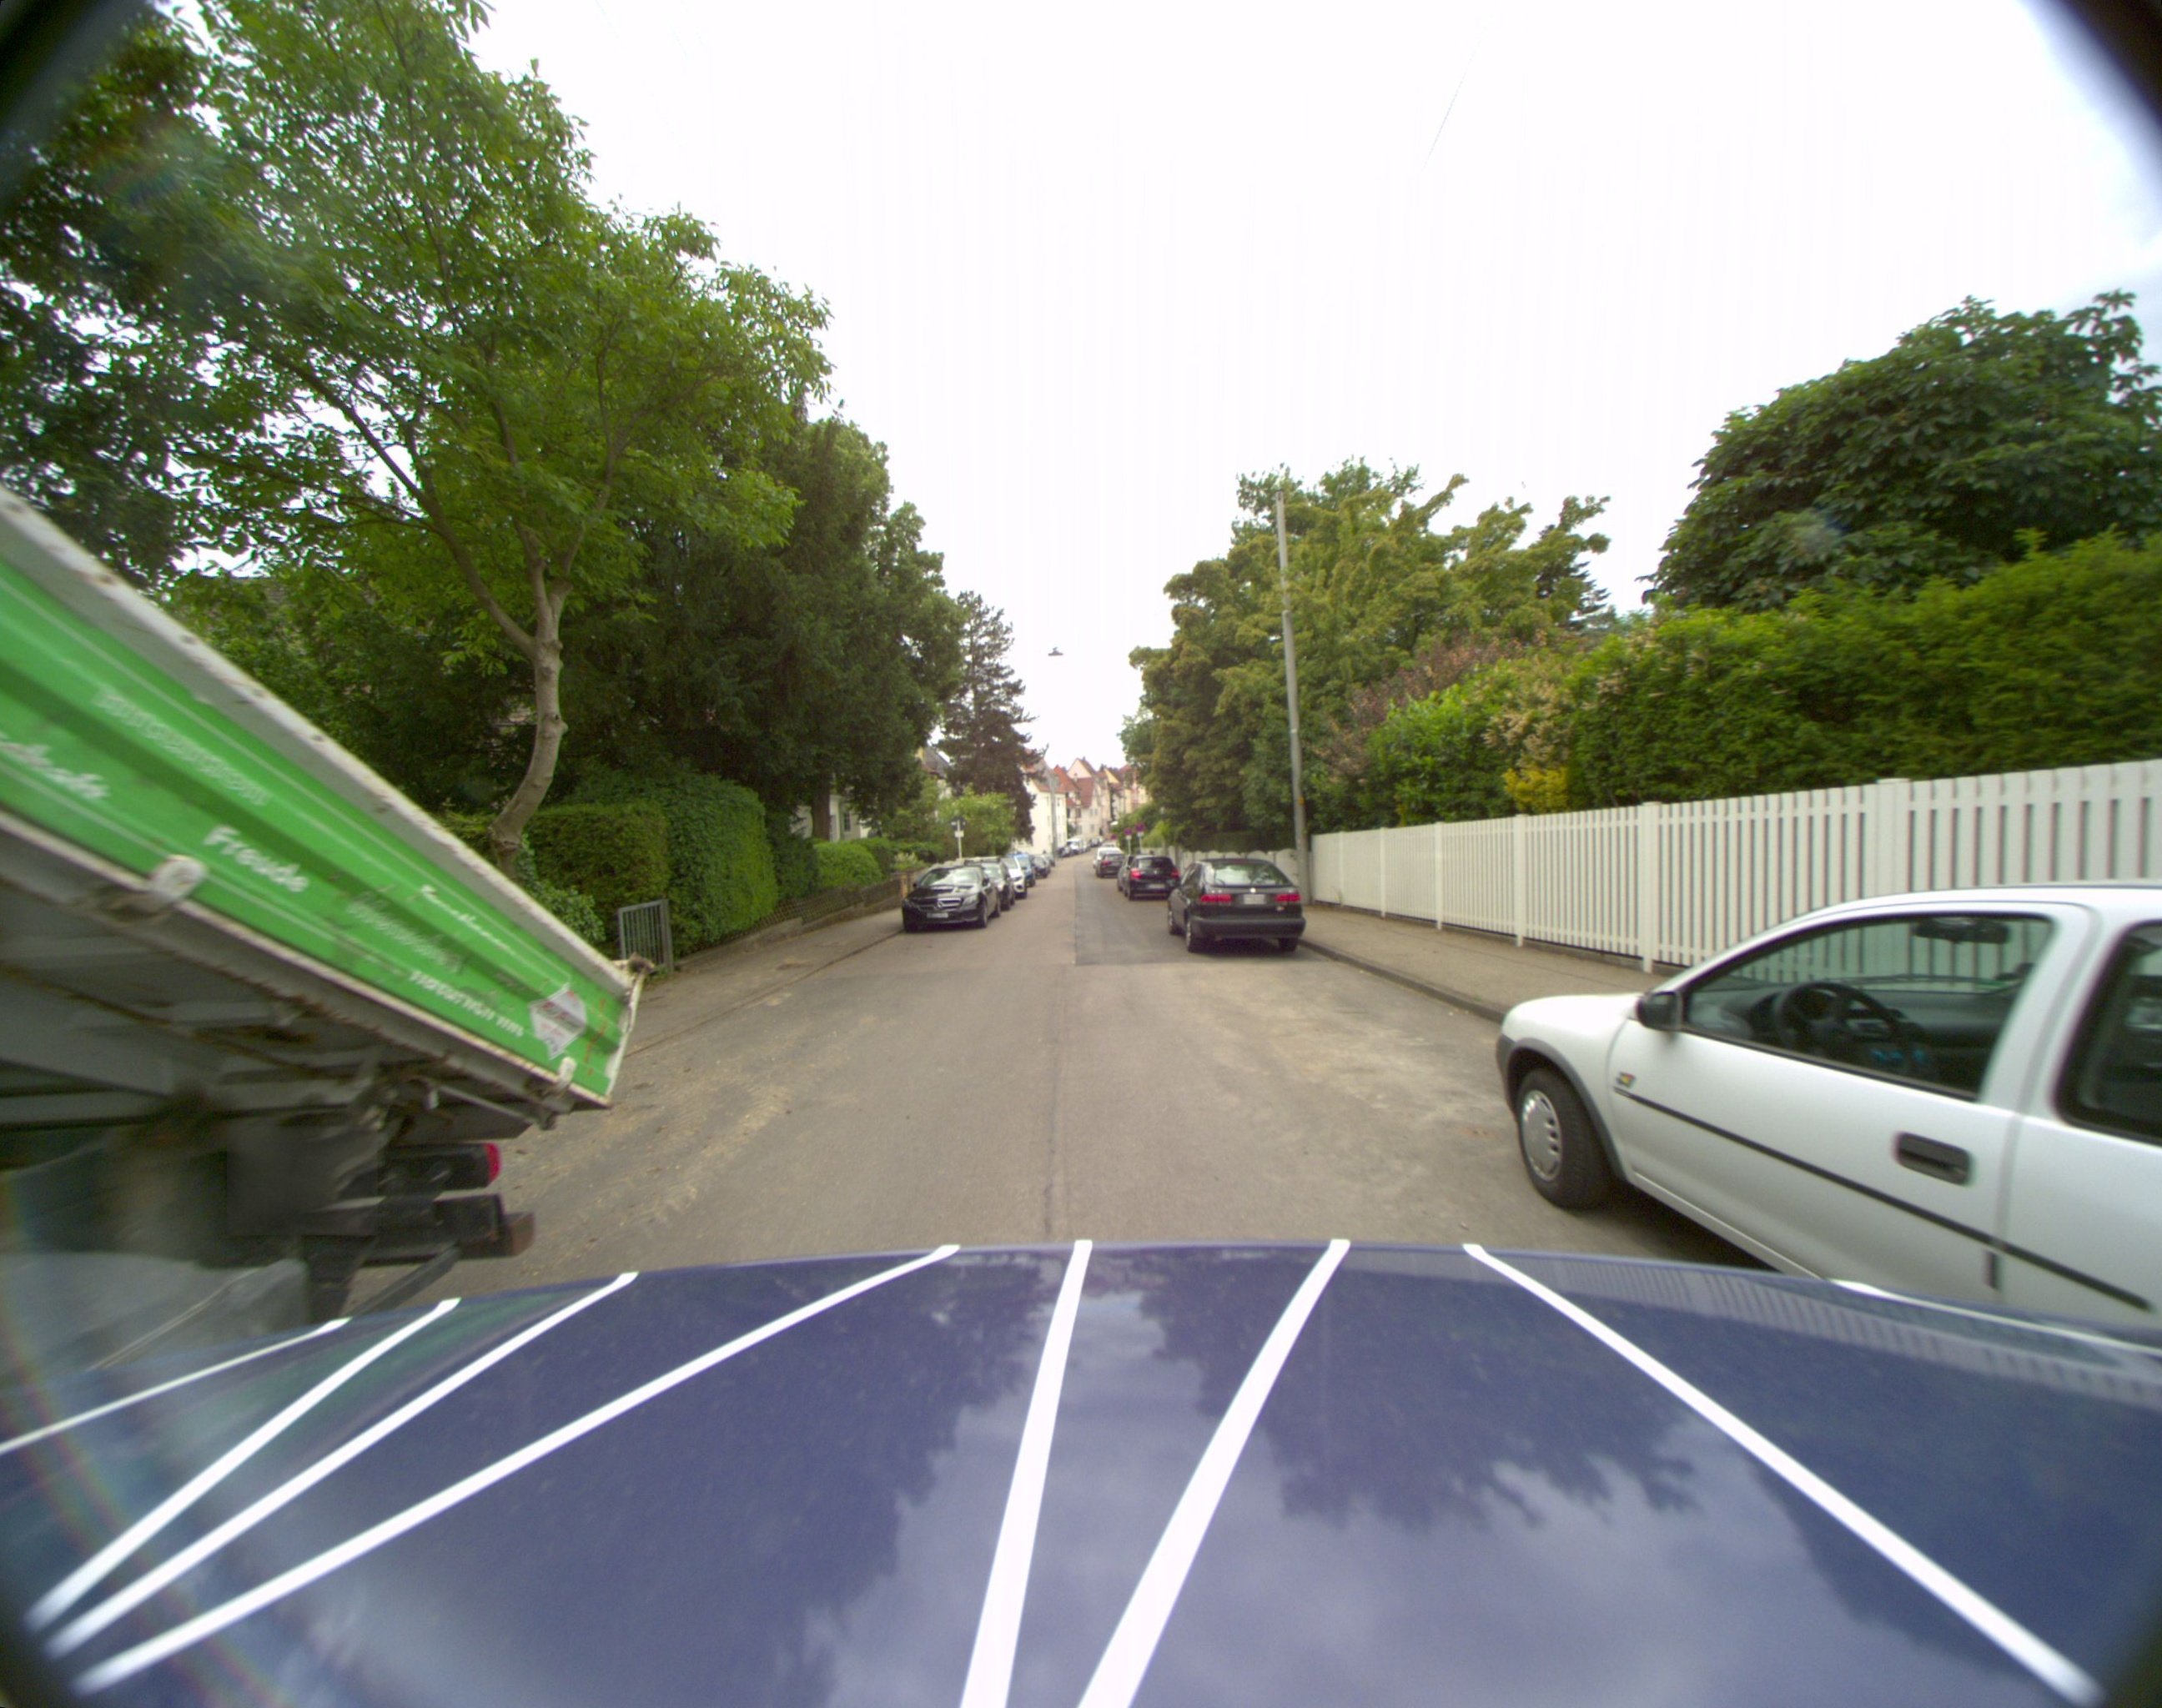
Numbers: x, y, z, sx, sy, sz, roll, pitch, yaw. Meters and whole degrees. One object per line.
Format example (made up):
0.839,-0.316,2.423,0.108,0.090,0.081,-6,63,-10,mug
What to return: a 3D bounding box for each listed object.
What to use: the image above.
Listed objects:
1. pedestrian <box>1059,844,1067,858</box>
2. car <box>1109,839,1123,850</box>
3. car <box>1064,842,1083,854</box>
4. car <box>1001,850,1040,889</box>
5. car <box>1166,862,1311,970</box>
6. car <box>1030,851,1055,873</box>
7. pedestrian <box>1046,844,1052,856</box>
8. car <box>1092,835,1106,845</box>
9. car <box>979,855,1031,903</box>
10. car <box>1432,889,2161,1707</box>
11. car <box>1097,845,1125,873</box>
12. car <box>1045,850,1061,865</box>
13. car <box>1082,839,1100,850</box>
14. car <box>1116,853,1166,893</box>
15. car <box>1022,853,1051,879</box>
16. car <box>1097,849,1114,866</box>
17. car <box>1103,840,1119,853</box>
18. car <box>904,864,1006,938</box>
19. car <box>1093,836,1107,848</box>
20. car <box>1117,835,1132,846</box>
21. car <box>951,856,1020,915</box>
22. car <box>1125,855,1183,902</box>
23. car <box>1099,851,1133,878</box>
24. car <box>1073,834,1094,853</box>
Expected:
-2.335,-0.434,98.707,0.822,1.750,0.643,-4,2,-1,pedestrian
5.208,-1.423,114.265,1.609,1.446,3.614,1,4,11,car
-1.036,-0.912,108.376,1.821,1.478,4.287,-2,3,10,car
-3.176,0.769,40.444,1.687,1.818,4.156,-4,0,-1,car
2.428,0.876,12.773,1.644,1.414,4.549,0,1,2,car
-3.126,0.614,62.729,1.789,1.594,4.303,-4,1,-1,car
-4.311,-0.477,101.998,0.682,1.568,0.906,0,3,6,pedestrian
3.124,-2.471,131.559,1.608,1.482,4.023,-3,4,11,car
-2.895,0.902,29.659,1.762,1.596,4.573,-4,1,-4,car
2.663,0.922,2.071,1.600,1.425,4.000,-1,0,1,car
2.175,0.317,55.265,1.859,1.902,4.618,0,1,0,car
-3.134,0.340,84.939,1.576,1.523,2.866,-5,1,-2,car
1.593,-1.539,120.091,1.827,1.437,4.383,-3,4,12,car
2.387,0.729,30.929,1.626,1.524,2.961,0,0,-3,car
-3.141,0.796,54.645,1.754,1.599,4.074,-5,1,0,car
2.403,0.340,74.300,1.445,1.543,2.770,1,1,7,car
4.364,-1.129,109.723,1.807,1.650,4.152,1,3,11,car
-2.948,1.044,18.732,1.656,1.415,4.660,-4,1,0,car
3.234,-2.098,131.561,1.780,1.711,4.001,-2,3,9,car
7.115,-2.147,123.306,1.805,1.473,4.329,-1,4,11,car
-2.921,0.908,23.962,1.703,1.561,4.307,-2,1,-2,car
2.433,0.794,26.239,1.659,1.472,3.887,0,0,0,car
2.204,0.628,48.692,1.796,1.614,4.341,-1,1,-2,car
0.421,-1.573,114.387,1.997,2.410,5.294,-1,4,12,car
